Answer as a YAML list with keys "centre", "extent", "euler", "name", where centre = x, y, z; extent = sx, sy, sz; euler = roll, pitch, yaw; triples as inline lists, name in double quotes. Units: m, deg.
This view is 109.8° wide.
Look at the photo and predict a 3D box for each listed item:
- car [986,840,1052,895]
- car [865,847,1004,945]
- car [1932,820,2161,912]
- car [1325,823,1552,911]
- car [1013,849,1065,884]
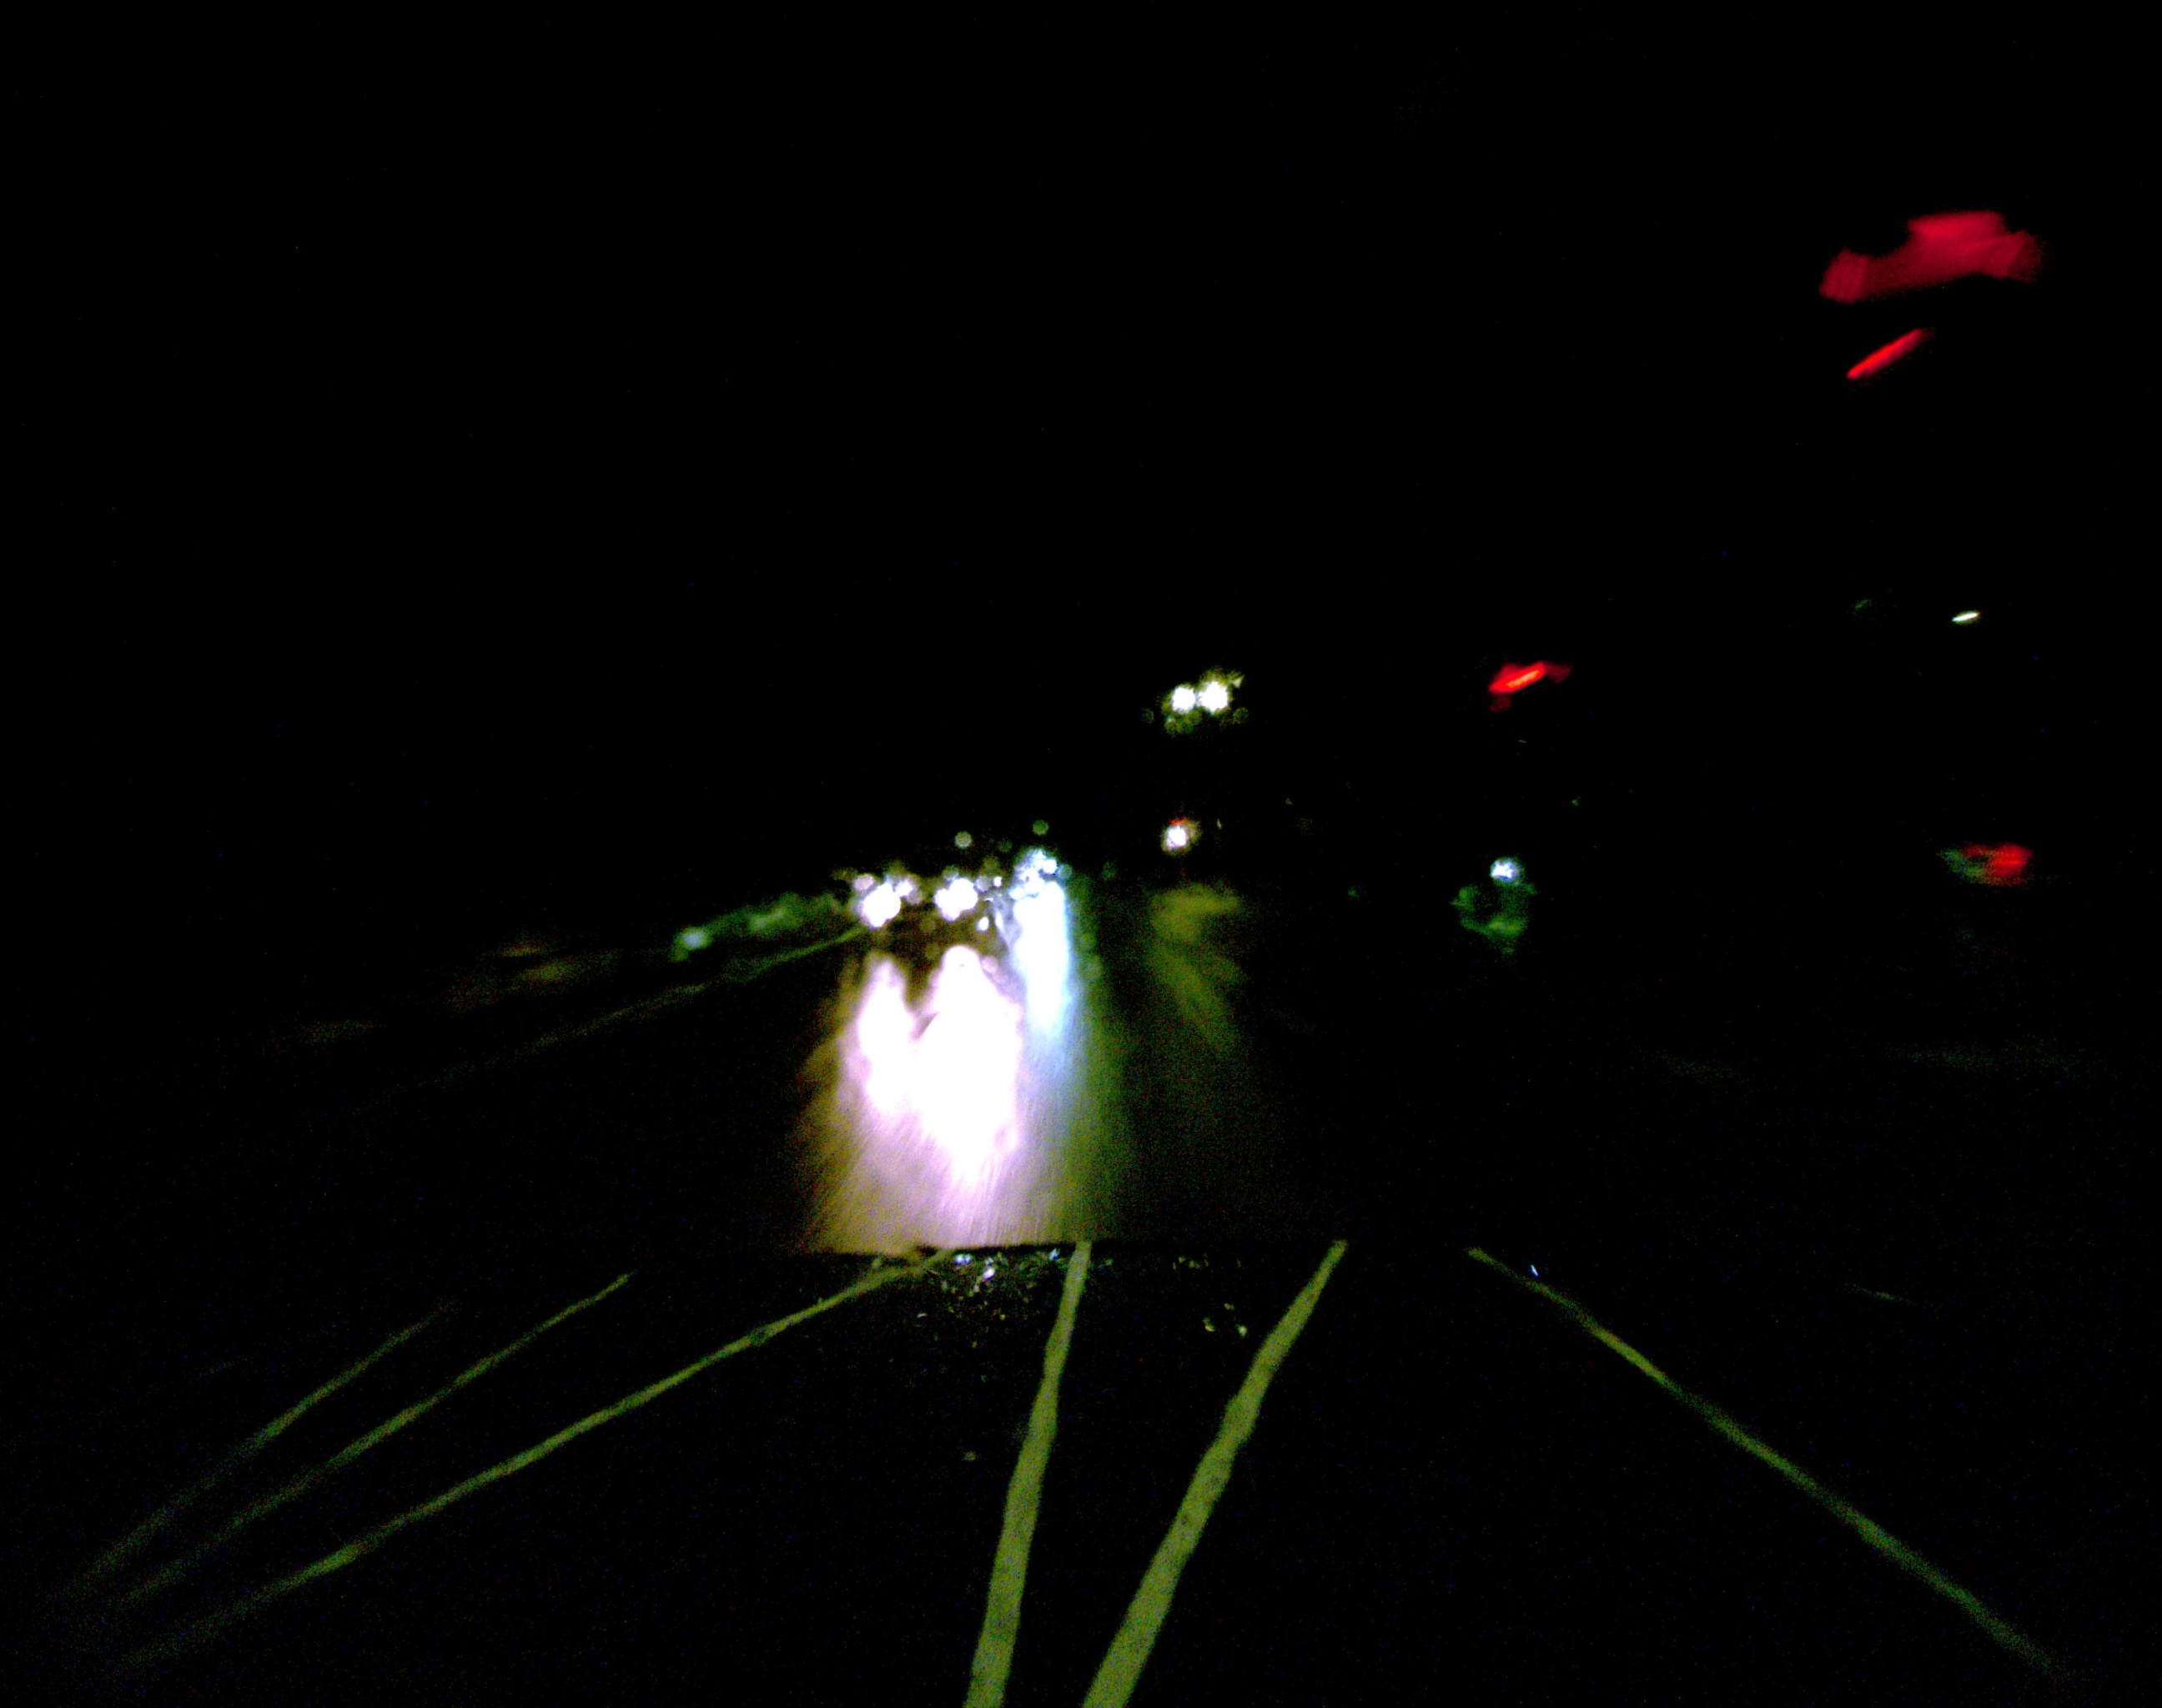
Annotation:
- centre: [-2.176, 0.421, 27.827]
  extent: [1.794, 1.802, 4.198]
  euler: [-3, 1, 2]
  name: "car"
- centre: [-2.777, 0.696, 15.589]
  extent: [1.878, 1.579, 4.887]
  euler: [-3, 1, -1]
  name: "car"
- centre: [17.192, 0.164, 12.131]
  extent: [4.493, 1.357, 1.669]
  euler: [-2, 1, 27]
  name: "car"
- centre: [8.448, 0.278, 18.332]
  extent: [2.003, 1.833, 4.512]
  euler: [-3, 1, -37]
  name: "car"
- centre: [-2.077, 0.573, 39.134]
  extent: [1.998, 1.544, 4.694]
  euler: [-3, 1, 5]
  name: "car"
